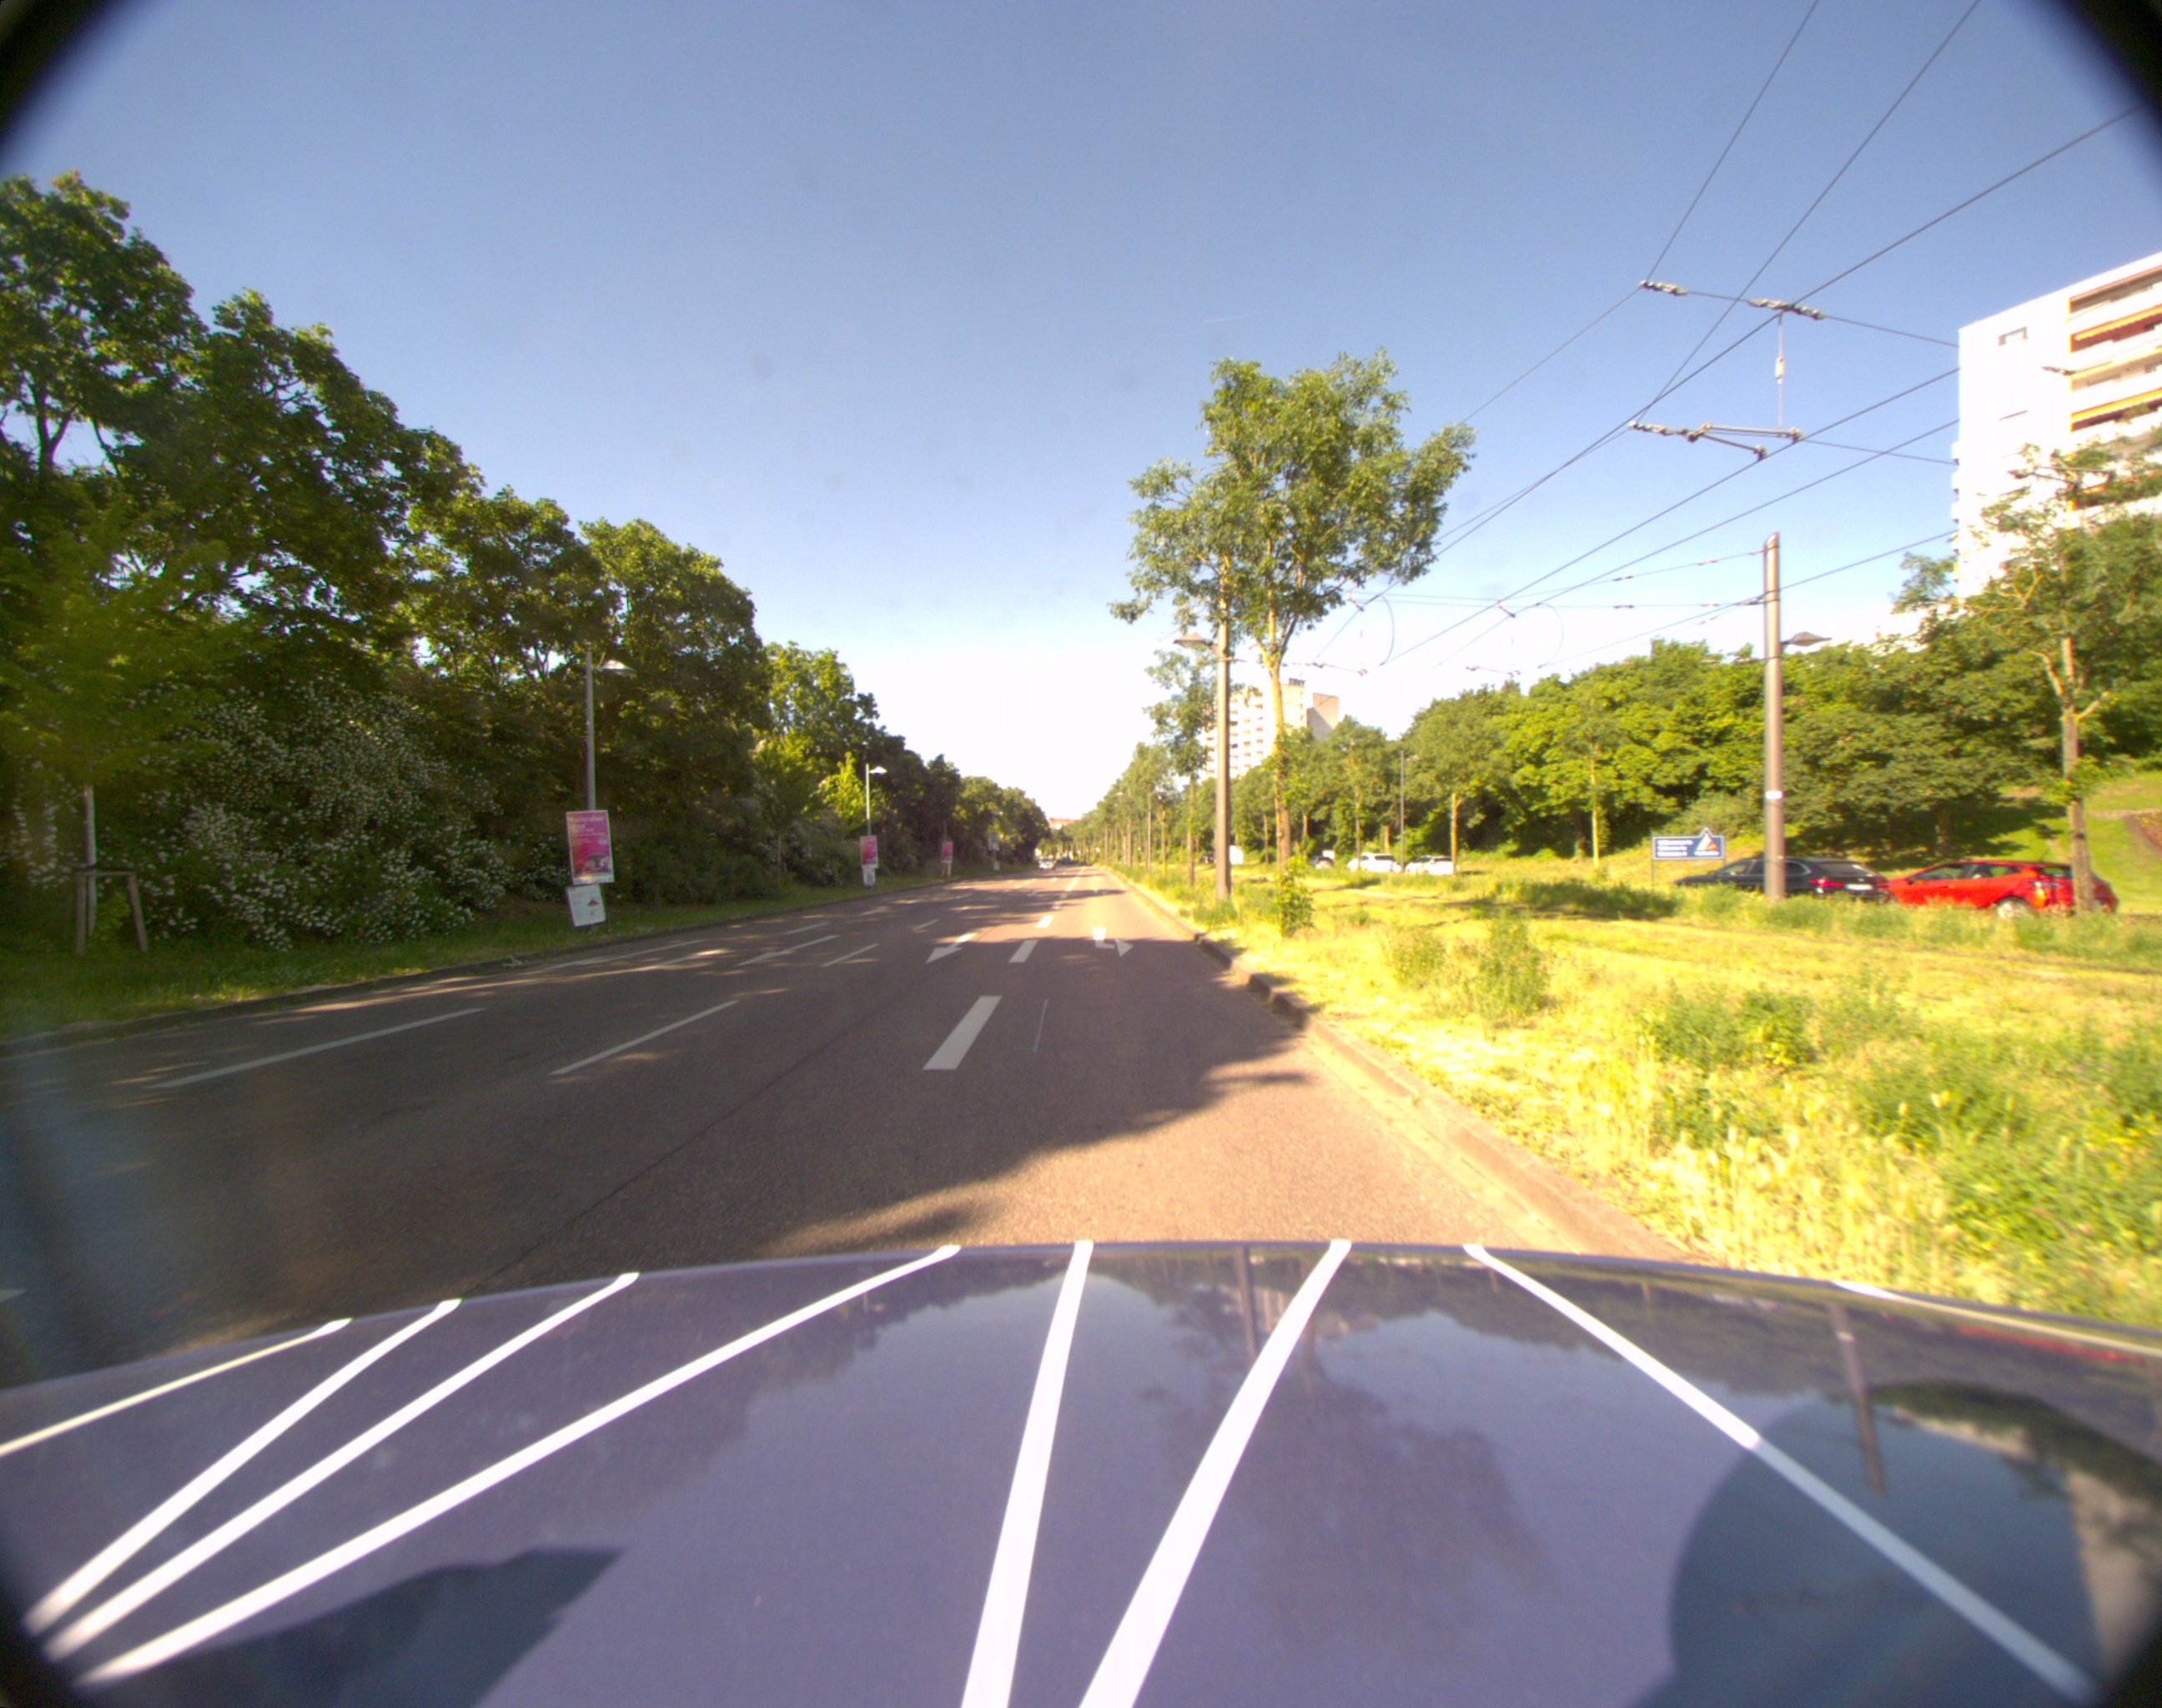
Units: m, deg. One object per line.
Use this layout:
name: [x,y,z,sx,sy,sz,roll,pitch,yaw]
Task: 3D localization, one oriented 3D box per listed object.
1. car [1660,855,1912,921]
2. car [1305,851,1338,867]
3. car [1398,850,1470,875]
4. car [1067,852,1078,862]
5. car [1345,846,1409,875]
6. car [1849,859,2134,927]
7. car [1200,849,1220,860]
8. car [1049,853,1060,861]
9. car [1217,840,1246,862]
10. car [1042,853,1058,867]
car: [17.819,0.765,19.647,1.998,1.401,4.990,-2,0,2]
car: [21.266,0.401,67.247,1.802,1.285,4.000,-2,0,3]
car: [21.377,0.487,46.181,1.905,1.390,4.541,-2,0,-5]
car: [-1.675,0.563,148.585,1.999,1.696,3.999,-2,0,-1]
car: [17.999,0.362,46.385,1.900,1.612,4.655,-2,0,-2]
car: [20.868,0.821,17.735,1.661,1.290,4.176,-2,0,0]
car: [18.831,0.067,111.328,1.998,1.575,5.272,-2,0,1]
car: [-5.012,0.542,144.033,1.831,1.400,4.216,-1,0,-1]
car: [17.577,-0.372,89.181,2.044,2.355,6.880,-2,0,1]
car: [-3.809,0.748,93.549,1.673,1.531,4.060,-4,0,1]
